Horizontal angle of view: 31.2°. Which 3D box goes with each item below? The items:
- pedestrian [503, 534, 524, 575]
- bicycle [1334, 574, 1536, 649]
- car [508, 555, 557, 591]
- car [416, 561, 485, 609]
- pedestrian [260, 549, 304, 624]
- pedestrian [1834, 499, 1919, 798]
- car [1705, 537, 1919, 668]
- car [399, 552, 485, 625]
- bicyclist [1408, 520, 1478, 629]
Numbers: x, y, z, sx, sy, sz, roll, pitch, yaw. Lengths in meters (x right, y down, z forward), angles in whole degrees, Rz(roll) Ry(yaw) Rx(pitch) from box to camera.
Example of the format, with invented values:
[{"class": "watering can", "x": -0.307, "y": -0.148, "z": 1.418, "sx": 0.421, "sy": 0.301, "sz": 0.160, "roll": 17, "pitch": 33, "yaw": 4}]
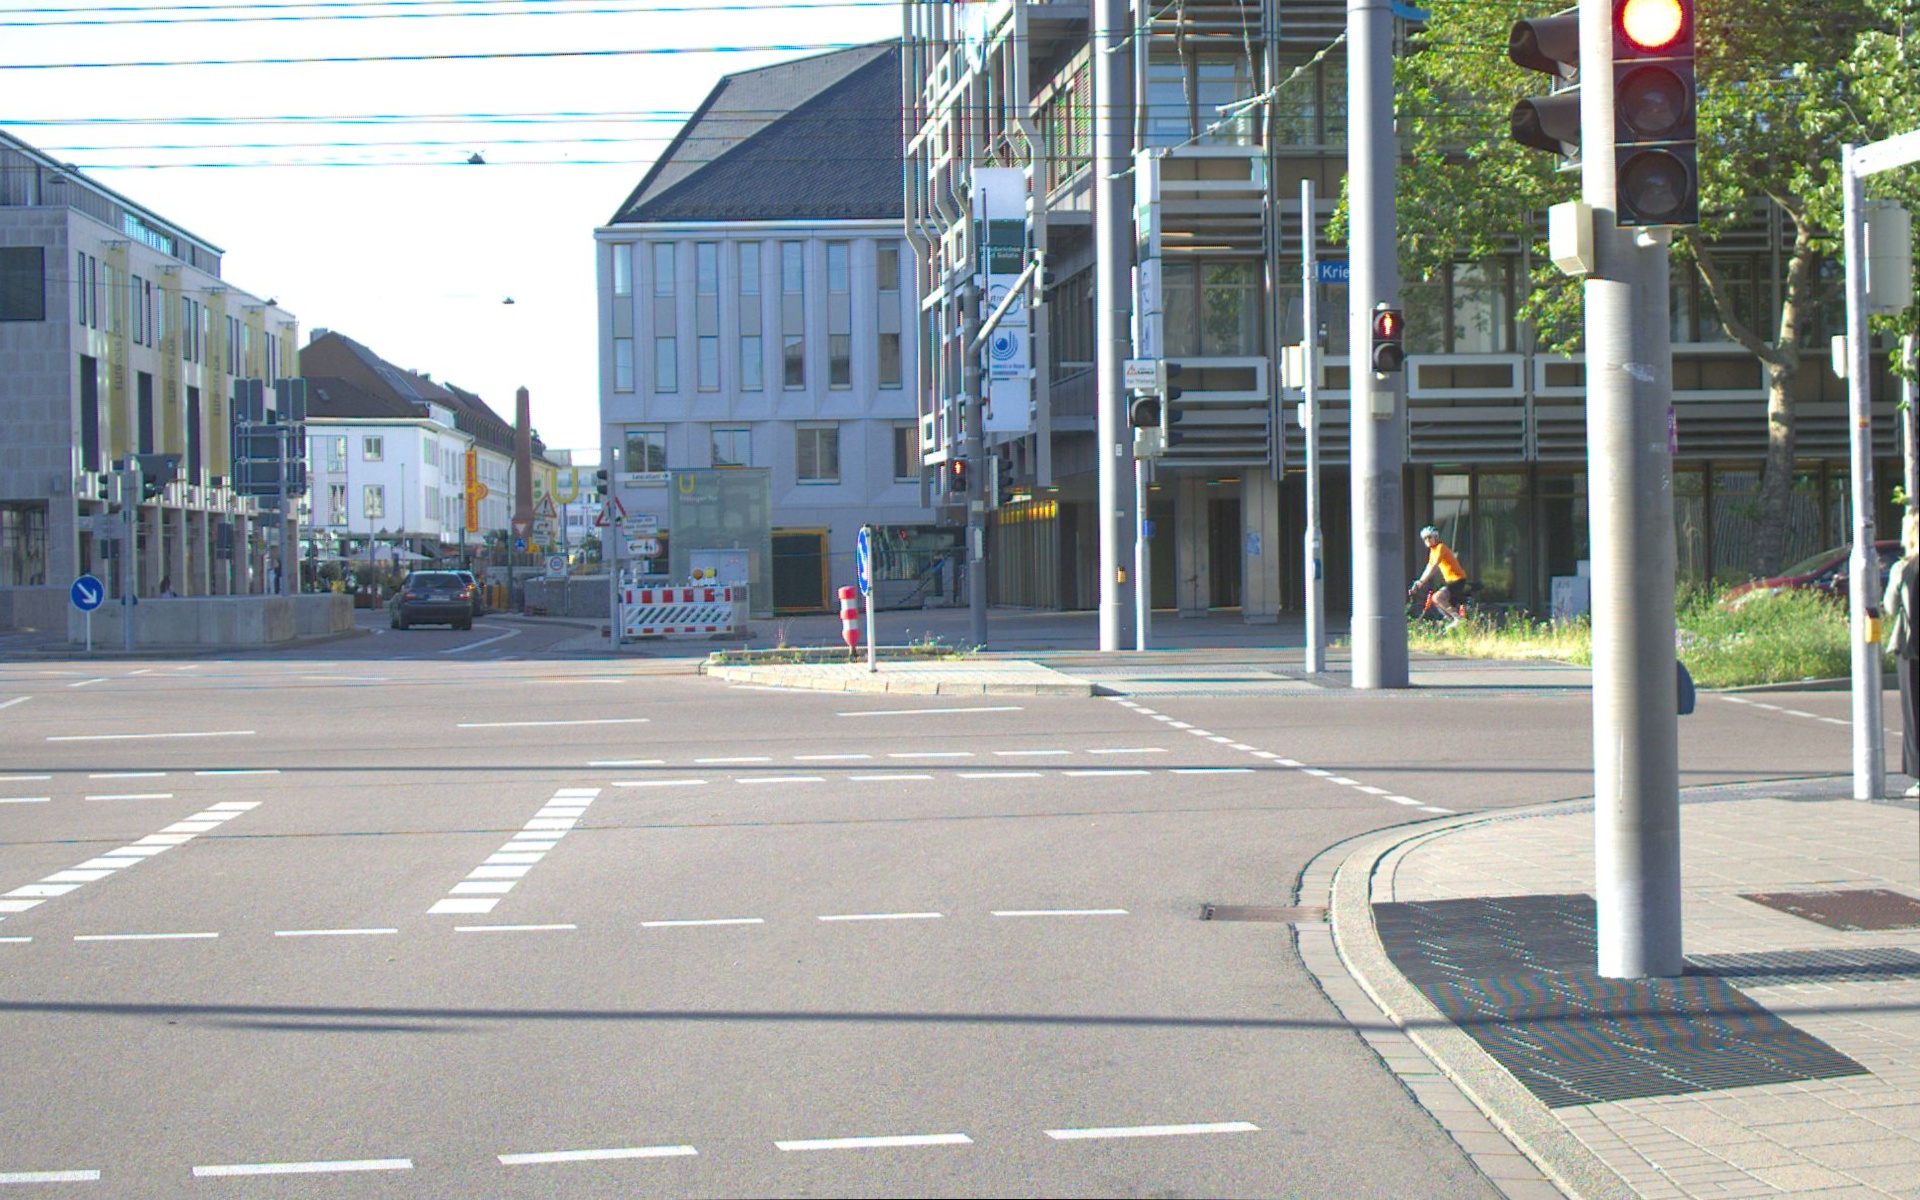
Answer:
[{"class": "pedestrian", "x": -21.389, "y": -2.164, "z": 164.684, "sx": 0.910, "sy": 1.958, "sz": 0.823, "roll": 1, "pitch": 0, "yaw": -1}, {"class": "bicycle", "x": 6.496, "y": 0.151, "z": 47.117, "sx": 2.568, "sy": 0.972, "sz": 1.047, "roll": -1, "pitch": 1, "yaw": -3}, {"class": "car", "x": -18.124, "y": -1.147, "z": 145.907, "sx": 1.658, "sy": 1.453, "sz": 3.542, "roll": -1, "pitch": 1, "yaw": -1}, {"class": "car", "x": -16.014, "y": -0.485, "z": 108.078, "sx": 1.658, "sy": 1.453, "sz": 3.542, "roll": -1, "pitch": 1, "yaw": -1}, {"class": "pedestrian", "x": -16.364, "y": -0.330, "z": 82.986, "sx": 0.899, "sy": 1.776, "sz": 0.808, "roll": -1, "pitch": 1, "yaw": -1}, {"class": "pedestrian", "x": 5.322, "y": 0.250, "z": 18.924, "sx": 0.765, "sy": 1.608, "sz": 0.874, "roll": -1, "pitch": 1, "yaw": -2}, {"class": "car", "x": 12.460, "y": -0.001, "z": 46.427, "sx": 4.287, "sy": 1.678, "sz": 1.826, "roll": -1, "pitch": 1, "yaw": -11}, {"class": "car", "x": -12.480, "y": -0.292, "z": 83.032, "sx": 1.819, "sy": 1.678, "sz": 4.001, "roll": -1, "pitch": 1, "yaw": -6}, {"class": "bicyclist", "x": 6.615, "y": -0.357, "z": 47.125, "sx": 0.822, "sy": 1.469, "sz": 0.652, "roll": -1, "pitch": 1, "yaw": -4}]
